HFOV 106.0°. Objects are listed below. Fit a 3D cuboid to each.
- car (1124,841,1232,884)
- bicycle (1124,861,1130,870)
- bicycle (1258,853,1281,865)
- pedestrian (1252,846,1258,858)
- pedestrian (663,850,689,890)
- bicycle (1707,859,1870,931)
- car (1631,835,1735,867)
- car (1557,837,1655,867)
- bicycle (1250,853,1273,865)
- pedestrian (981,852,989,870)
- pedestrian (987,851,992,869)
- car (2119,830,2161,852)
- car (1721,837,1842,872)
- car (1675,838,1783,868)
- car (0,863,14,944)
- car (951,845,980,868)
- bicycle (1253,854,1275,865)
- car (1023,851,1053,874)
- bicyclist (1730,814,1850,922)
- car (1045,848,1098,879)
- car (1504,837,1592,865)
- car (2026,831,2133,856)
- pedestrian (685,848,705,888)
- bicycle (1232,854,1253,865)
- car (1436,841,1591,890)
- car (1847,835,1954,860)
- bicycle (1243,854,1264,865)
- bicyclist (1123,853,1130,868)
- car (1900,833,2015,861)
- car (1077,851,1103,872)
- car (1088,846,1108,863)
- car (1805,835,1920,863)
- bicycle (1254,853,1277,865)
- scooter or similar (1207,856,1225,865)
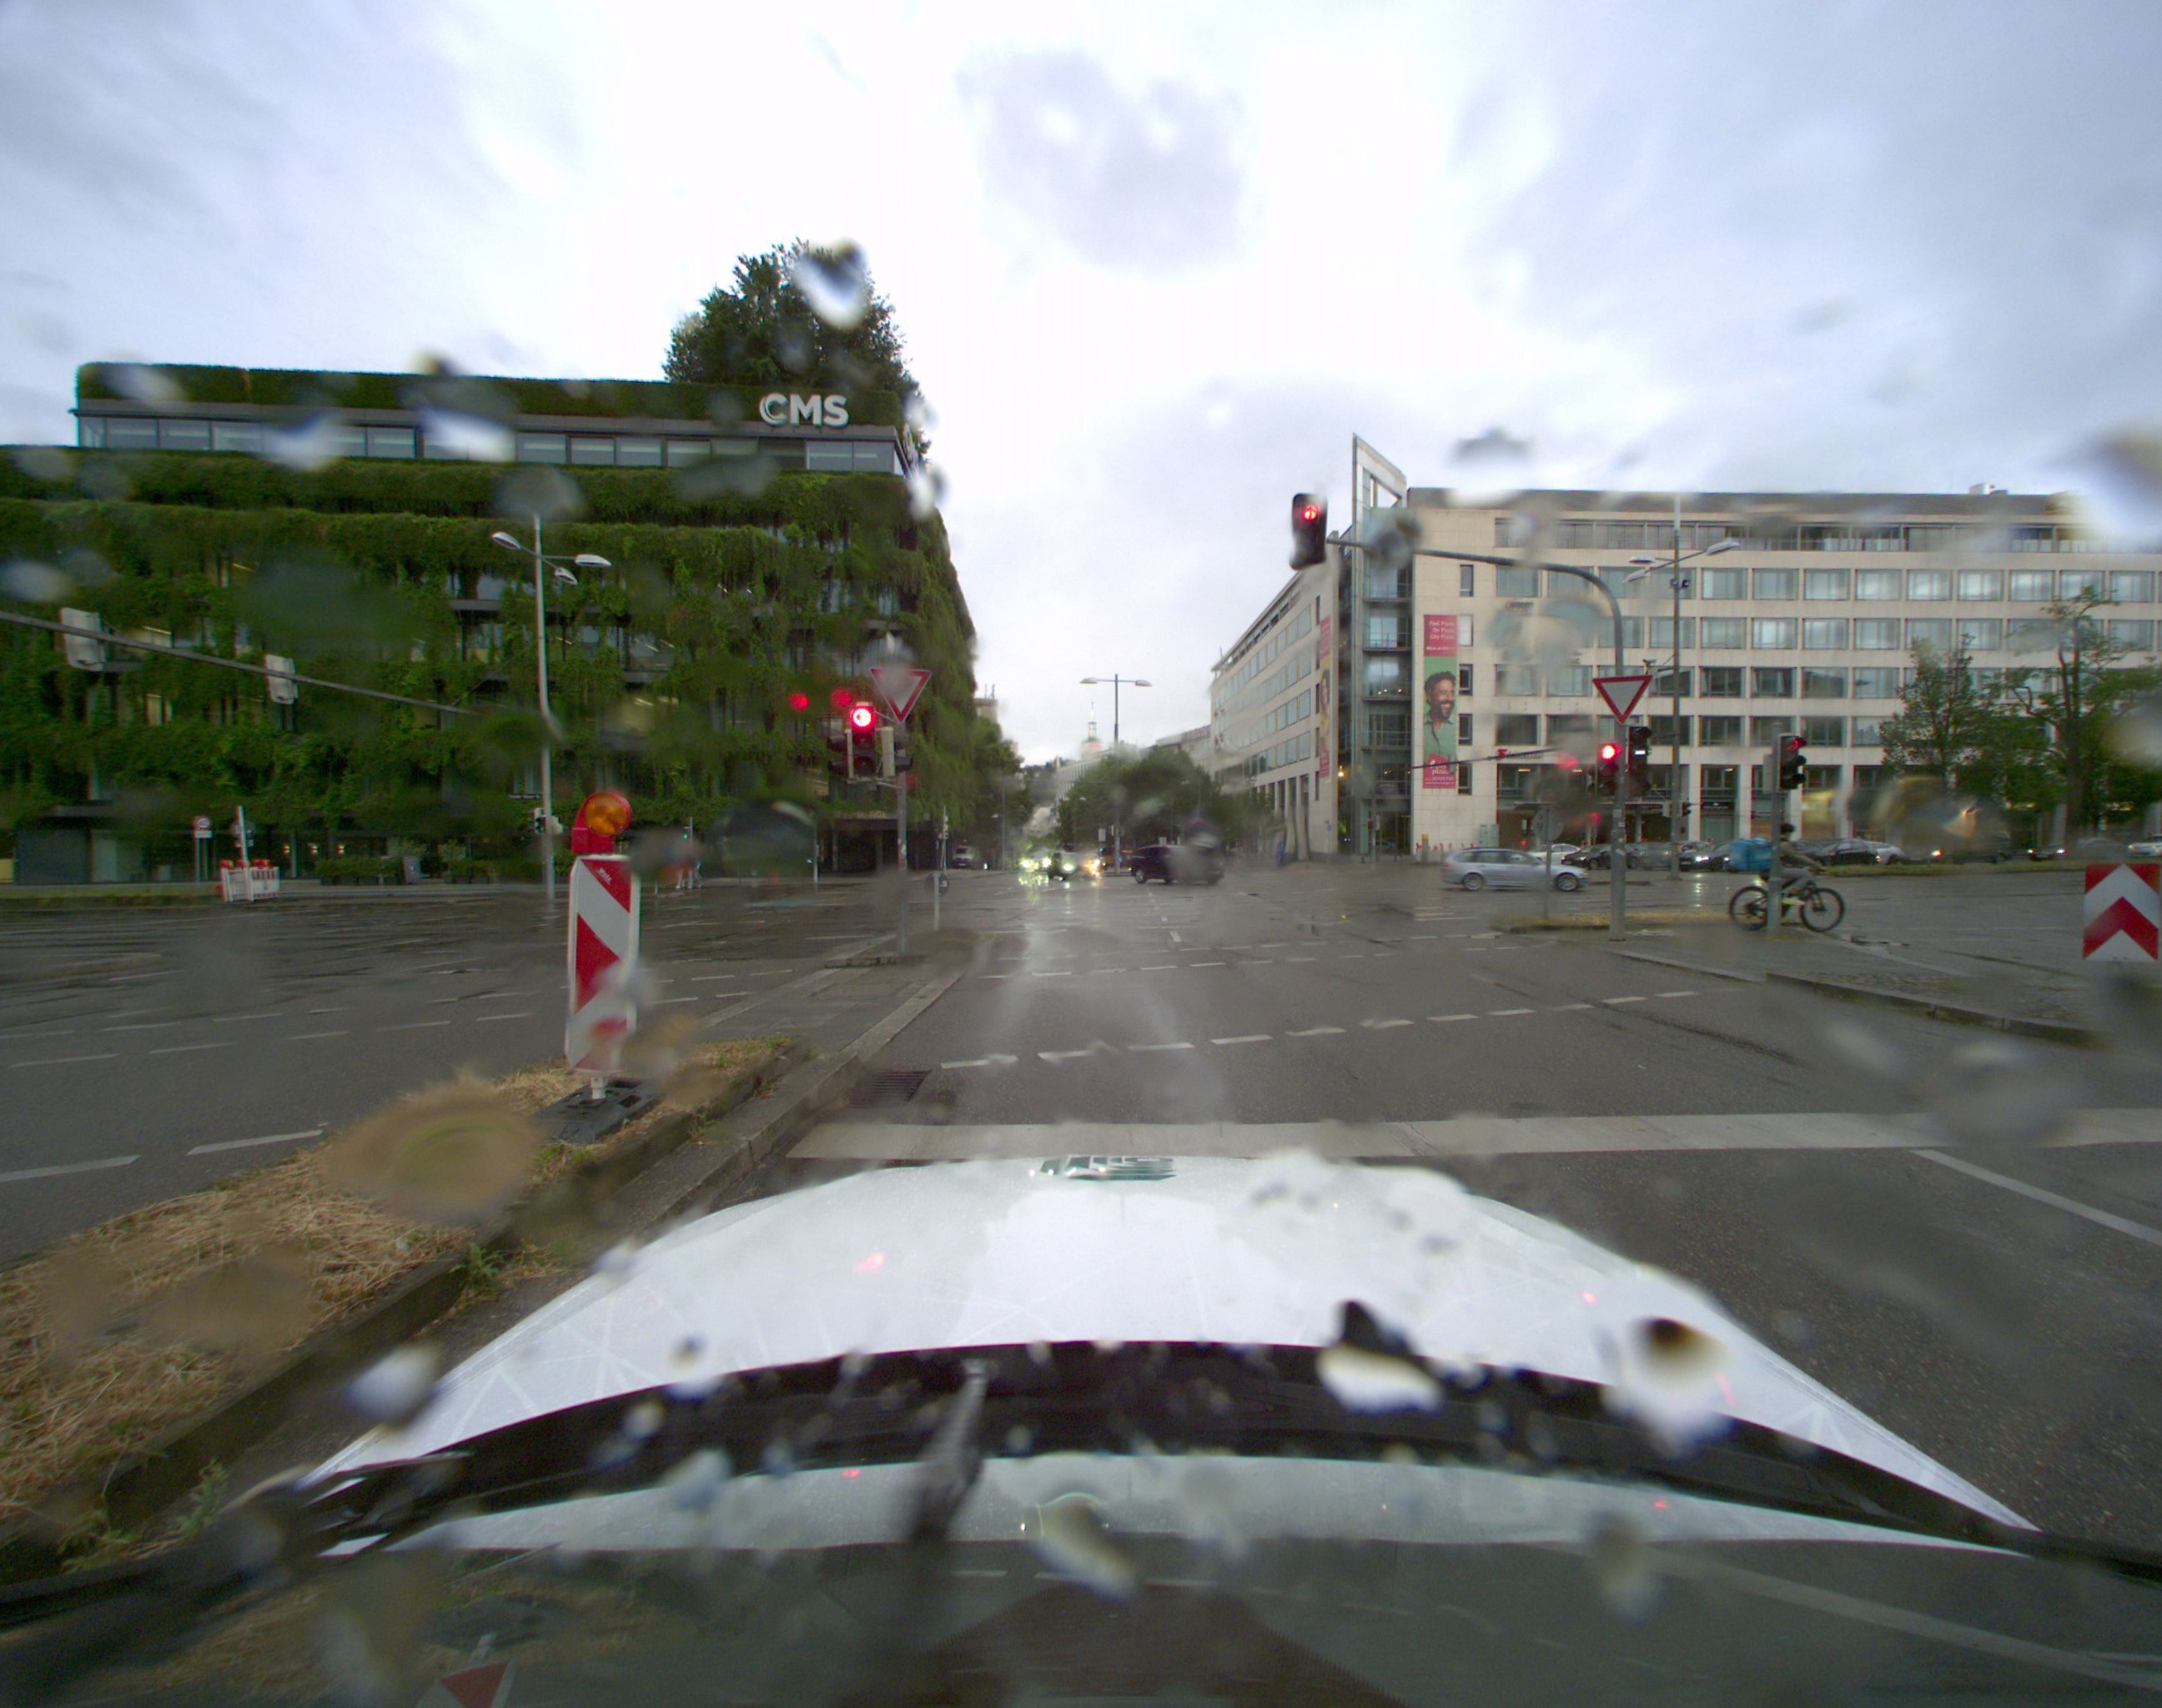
[{"bbox_3d":[3.974,0.316,33.978,1.980,1.655,4.314,-2,2,-39],"label":"car"},{"bbox_3d":[6.088,1.513,108.063,0.788,1.117,2.256,-1,0,1],"label":"bicycle"},{"bbox_3d":[14.978,0.394,64.668,1.778,0.934,0.478,-1,0,43],"label":"bicycle"},{"bbox_3d":[17.172,-0.166,80.432,0.355,1.173,0.411,-1,0,-31],"label":"pedestrian"},{"bbox_3d":[-18.271,0.701,36.746,0.939,1.758,1.163,-1,0,-22],"label":"pedestrian"},{"bbox_3d":[11.688,0.659,13.484,2.144,1.103,0.846,-1,0,-9],"label":"bicycle"},{"bbox_3d":[31.678,-0.181,42.908,4.455,1.598,1.991,-1,0,-13],"label":"car"},{"bbox_3d":[29.211,-0.126,45.384,4.451,1.598,1.993,-1,0,-10],"label":"car"},{"bbox_3d":[14.188,0.409,64.044,1.778,0.934,0.478,-1,0,43],"label":"bicycle"},{"bbox_3d":[-8.319,0.616,70.786,0.605,1.524,0.587,-1,0,-3],"label":"pedestrian"},{"bbox_3d":[-7.962,0.528,70.795,0.435,1.524,0.547,-1,0,-3],"label":"pedestrian"},{"bbox_3d":[69.322,-0.828,51.815,4.629,1.348,1.923,-1,0,-6],"label":"car"},{"bbox_3d":[31.241,-0.001,36.351,4.452,1.464,1.716,-1,0,-11],"label":"car"},{"bbox_3d":[31.401,-0.056,39.469,4.455,1.348,1.715,-1,0,-13],"label":"car"},{"bbox_3d":[-27.137,1.202,18.219,3.451,1.922,1.992,-1,0,-11],"label":"car"},{"bbox_3d":[-9.703,0.202,68.714,1.989,1.895,4.461,-1,0,-2],"label":"car"},{"bbox_3d":[14.908,0.441,66.381,1.778,0.934,0.478,-1,0,43],"label":"bicycle"},{"bbox_3d":[-3.119,0.613,59.941,1.987,1.598,4.464,-1,0,-1],"label":"car"},{"bbox_3d":[11.749,0.219,13.523,1.293,1.704,0.846,-1,0,-7],"label":"bicyclist"},{"bbox_3d":[-0.542,0.425,41.880,1.858,1.448,4.601,-1,1,-12],"label":"car"},{"bbox_3d":[27.921,-0.204,48.716,4.456,1.598,1.991,-1,0,-14],"label":"car"},{"bbox_3d":[58.083,-0.610,47.384,4.634,1.348,1.921,-1,0,-10],"label":"car"},{"bbox_3d":[-17.524,0.631,37.026,0.744,1.758,0.969,-1,0,-22],"label":"pedestrian"},{"bbox_3d":[14.401,0.463,72.574,1.786,0.934,0.476,-1,0,4],"label":"bicycle"},{"bbox_3d":[14.207,0.363,27.066,4.410,1.486,2.011,-1,1,23],"label":"car"},{"bbox_3d":[45.817,-0.366,45.555,4.634,1.348,1.921,-1,0,-10],"label":"car"},{"bbox_3d":[14.969,0.448,70.711,1.786,0.934,0.476,-1,0,4],"label":"bicycle"},{"bbox_3d":[6.026,0.860,108.066,0.788,1.975,1.114,-1,0,0],"label":"bicyclist"},{"bbox_3d":[45.245,-0.361,42.065,4.637,1.348,1.919,-1,0,-12],"label":"car"},{"bbox_3d":[0.707,0.598,68.504,1.988,1.529,4.554,-1,1,-1],"label":"car"},{"bbox_3d":[1.719,0.037,83.625,1.987,1.529,4.556,-1,1,0],"label":"car"},{"bbox_3d":[39.508,-0.248,41.194,4.637,1.348,1.919,-1,0,-11],"label":"car"},{"bbox_3d":[14.846,0.401,65.637,1.778,0.934,0.478,-1,0,43],"label":"bicycle"},{"bbox_3d":[13.235,0.606,79.766,1.750,0.878,0.486,-1,0,-18],"label":"scooter or similar"}]
